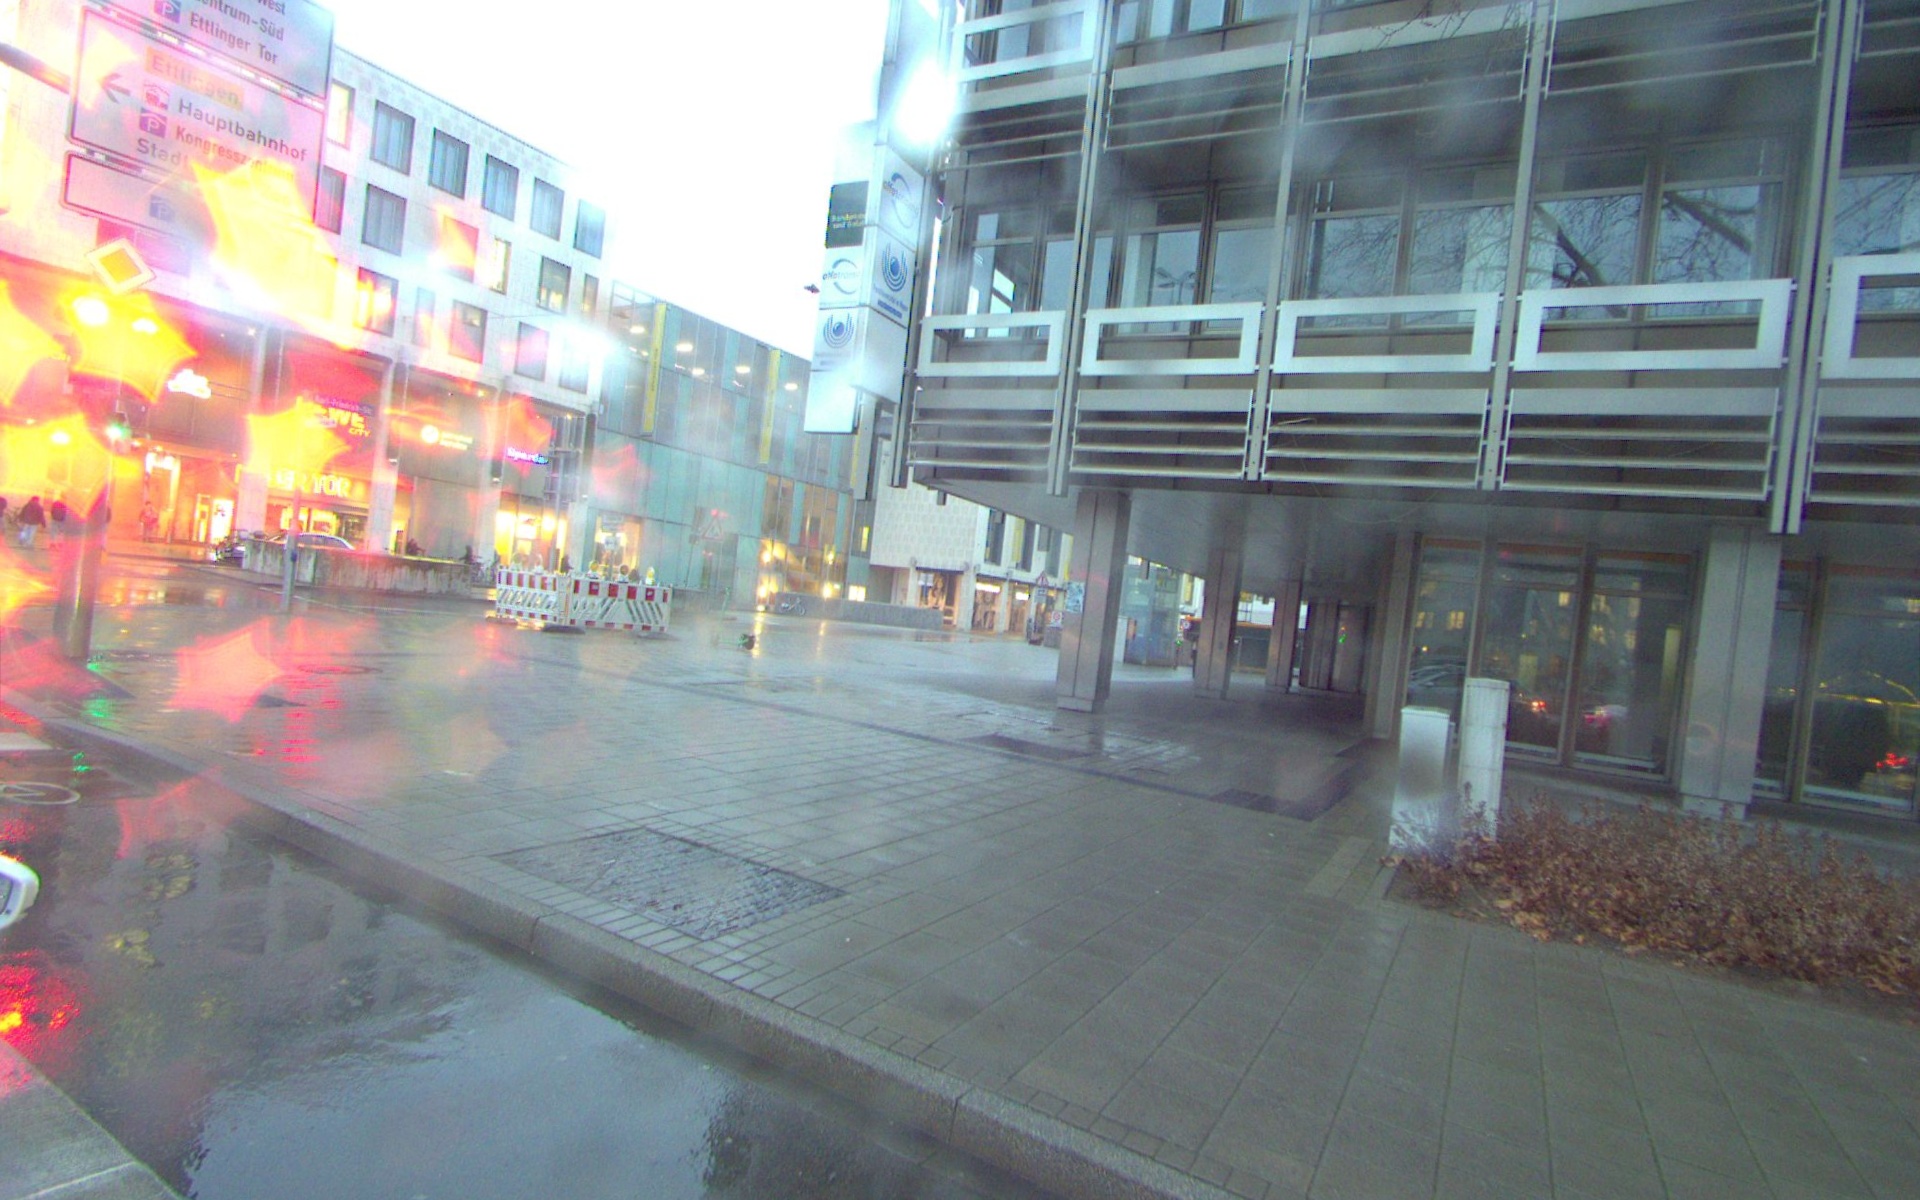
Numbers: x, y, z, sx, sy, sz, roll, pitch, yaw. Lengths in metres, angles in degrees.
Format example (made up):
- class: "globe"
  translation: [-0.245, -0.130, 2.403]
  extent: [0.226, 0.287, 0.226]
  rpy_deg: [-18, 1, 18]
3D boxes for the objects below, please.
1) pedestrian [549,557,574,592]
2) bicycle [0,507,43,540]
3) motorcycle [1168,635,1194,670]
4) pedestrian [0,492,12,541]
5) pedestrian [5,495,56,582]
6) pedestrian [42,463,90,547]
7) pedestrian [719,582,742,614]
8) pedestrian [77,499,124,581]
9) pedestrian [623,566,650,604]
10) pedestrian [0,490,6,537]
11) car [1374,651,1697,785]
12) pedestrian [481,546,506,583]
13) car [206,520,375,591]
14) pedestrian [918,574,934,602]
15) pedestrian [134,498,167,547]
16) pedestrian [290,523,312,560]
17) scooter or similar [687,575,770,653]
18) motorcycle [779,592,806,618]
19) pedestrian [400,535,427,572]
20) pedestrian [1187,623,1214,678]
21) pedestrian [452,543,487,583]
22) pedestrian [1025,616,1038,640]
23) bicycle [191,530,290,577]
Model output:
- class: "pedestrian"
  translation: [-20.615, -1.310, 52.077]
  extent: [0.770, 1.703, 0.742]
  rpy_deg: [6, -1, 38]
- class: "bicycle"
  translation: [-36.408, -2.977, 38.607]
  extent: [0.515, 1.082, 1.651]
  rpy_deg: [7, -2, 28]
- class: "motorcycle"
  translation: [9.712, 2.317, 44.169]
  extent: [0.584, 1.368, 1.493]
  rpy_deg: [7, -1, 29]
- class: "pedestrian"
  translation: [-35.029, -3.055, 36.542]
  extent: [0.564, 1.730, 0.637]
  rpy_deg: [7, 1, 31]
- class: "pedestrian"
  translation: [-27.845, -1.840, 30.145]
  extent: [0.745, 2.469, 0.716]
  rpy_deg: [7, -1, 31]
- class: "pedestrian"
  translation: [-27.609, -2.940, 31.060]
  extent: [0.745, 2.469, 0.691]
  rpy_deg: [7, -1, 31]
- class: "pedestrian"
  translation: [-13.252, -0.100, 58.101]
  extent: [0.770, 1.703, 0.742]
  rpy_deg: [6, -1, 38]
- class: "pedestrian"
  translation: [-27.189, -1.900, 31.837]
  extent: [0.778, 2.477, 0.694]
  rpy_deg: [7, -1, 32]
- class: "pedestrian"
  translation: [-15.488, -0.714, 48.154]
  extent: [0.770, 1.703, 0.742]
  rpy_deg: [6, -1, 38]
- class: "pedestrian"
  translation: [-34.851, -3.141, 36.242]
  extent: [0.480, 1.683, 0.454]
  rpy_deg: [6, 1, -28]
- class: "car"
  translation: [8.638, 1.682, 15.323]
  extent: [3.935, 1.327, 1.994]
  rpy_deg: [6, 1, 33]
- class: "pedestrian"
  translation: [-23.594, -1.812, 50.874]
  extent: [0.786, 1.760, 0.767]
  rpy_deg: [6, 1, -43]
- class: "car"
  translation: [-21.689, -1.402, 32.742]
  extent: [1.968, 1.636, 3.994]
  rpy_deg: [6, -2, 33]
- class: "pedestrian"
  translation: [-2.178, -0.768, 64.068]
  extent: [0.573, 1.703, 0.542]
  rpy_deg: [6, -1, 38]
- class: "pedestrian"
  translation: [-35.842, -3.442, 44.545]
  extent: [0.688, 2.039, 0.845]
  rpy_deg: [7, 1, 40]
- class: "pedestrian"
  translation: [-32.987, -2.911, 50.373]
  extent: [0.729, 1.740, 0.733]
  rpy_deg: [6, 1, -31]
- class: "scooter or similar"
  translation: [-4.661, 0.272, 20.225]
  extent: [1.470, 1.368, 0.593]
  rpy_deg: [7, -1, 32]
- class: "motorcycle"
  translation: [-10.174, 0.292, 61.126]
  extent: [0.585, 1.368, 1.491]
  rpy_deg: [7, -1, 36]
- class: "pedestrian"
  translation: [-26.500, -2.241, 48.770]
  extent: [0.519, 1.705, 0.894]
  rpy_deg: [6, 0, 31]
- class: "pedestrian"
  translation: [8.369, 1.759, 34.997]
  extent: [0.678, 1.796, 0.660]
  rpy_deg: [7, -1, 16]
- class: "pedestrian"
  translation: [-23.197, -1.748, 47.597]
  extent: [0.810, 1.703, 1.032]
  rpy_deg: [6, -1, 31]
- class: "pedestrian"
  translation: [5.348, 2.058, 75.022]
  extent: [0.573, 1.703, 0.542]
  rpy_deg: [6, -1, 38]
- class: "bicycle"
  translation: [-26.333, -1.680, 36.878]
  extent: [0.941, 1.375, 2.718]
  rpy_deg: [6, -1, 28]
